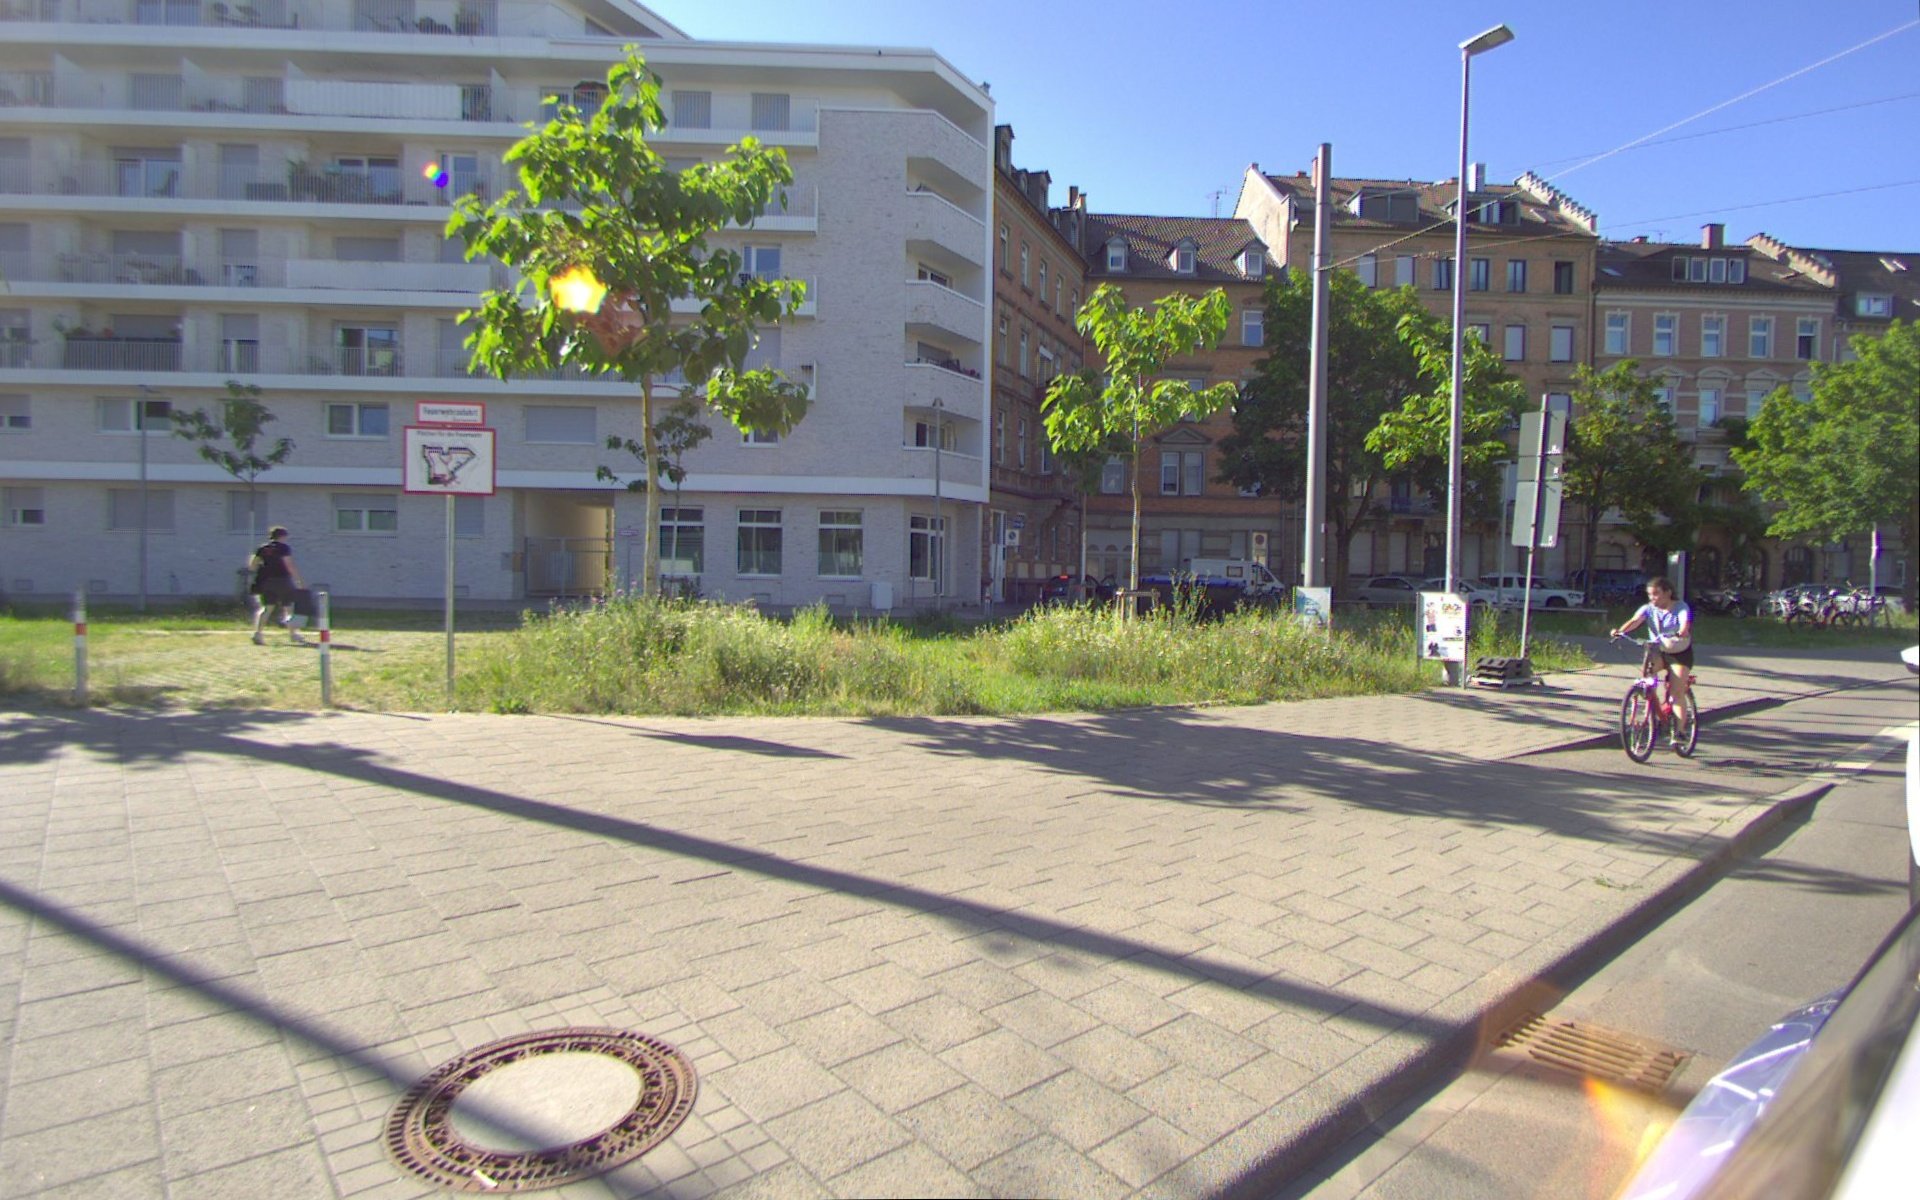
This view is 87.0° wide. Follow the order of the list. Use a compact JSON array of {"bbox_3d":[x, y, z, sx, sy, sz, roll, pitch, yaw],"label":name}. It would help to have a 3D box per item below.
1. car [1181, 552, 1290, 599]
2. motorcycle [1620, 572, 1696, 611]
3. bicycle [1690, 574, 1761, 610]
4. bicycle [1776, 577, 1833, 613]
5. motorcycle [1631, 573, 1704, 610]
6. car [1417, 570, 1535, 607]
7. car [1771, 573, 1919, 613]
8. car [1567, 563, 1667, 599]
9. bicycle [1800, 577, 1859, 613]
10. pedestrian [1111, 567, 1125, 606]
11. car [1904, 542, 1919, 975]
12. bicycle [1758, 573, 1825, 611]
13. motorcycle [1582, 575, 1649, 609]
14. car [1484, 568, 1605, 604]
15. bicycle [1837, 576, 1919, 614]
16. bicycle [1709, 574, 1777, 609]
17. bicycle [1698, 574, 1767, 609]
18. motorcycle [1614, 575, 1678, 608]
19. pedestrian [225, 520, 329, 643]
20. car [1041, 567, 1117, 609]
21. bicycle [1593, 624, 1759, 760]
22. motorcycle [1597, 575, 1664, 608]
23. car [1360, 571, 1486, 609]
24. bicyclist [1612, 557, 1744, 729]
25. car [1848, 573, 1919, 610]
[{"bbox_3d":[12.661,-1.153,46.780,4.416,2.062,2.054,1,2,0],"label":"car"},{"bbox_3d":[25.338,-0.305,36.775,0.650,1.347,2.207,0,0,-28],"label":"motorcycle"},{"bbox_3d":[28.369,-0.309,37.560,0.649,1.284,2.208,0,0,-11],"label":"bicycle"},{"bbox_3d":[30.940,-0.184,37.106,0.653,1.284,2.196,0,0,12],"label":"bicycle"},{"bbox_3d":[26.154,-0.320,37.464,0.649,1.339,2.208,0,0,-23],"label":"motorcycle"},{"bbox_3d":[19.672,-0.467,38.714,1.648,1.267,3.709,0,3,-28],"label":"car"},{"bbox_3d":[34.685,-0.320,39.588,1.651,1.423,4.324,-1,3,-38],"label":"car"},{"bbox_3d":[30.875,-0.920,47.645,3.631,1.607,1.552,1,2,0],"label":"car"},{"bbox_3d":[32.034,-0.192,37.329,0.653,1.284,2.196,0,0,12],"label":"bicycle"},{"bbox_3d":[5.924,-0.507,38.013,0.500,1.474,0.480,0,0,11],"label":"pedestrian"},{"bbox_3d":[5.866,0.608,4.713,4.323,1.667,1.840,0,0,-43],"label":"car"},{"bbox_3d":[29.273,-0.291,35.669,0.651,1.284,2.202,0,0,4],"label":"bicycle"},{"bbox_3d":[26.026,-0.327,40.221,0.649,1.293,2.324,0,0,-18],"label":"motorcycle"},{"bbox_3d":[22.328,-0.578,38.769,1.513,1.267,3.700,-1,3,-39],"label":"car"},{"bbox_3d":[31.629,-0.165,34.759,2.180,1.284,0.657,0,0,25],"label":"bicycle"},{"bbox_3d":[29.723,-0.325,38.459,0.649,1.284,2.208,0,0,-9],"label":"bicycle"},{"bbox_3d":[29.080,-0.319,38.148,0.649,1.284,2.208,0,0,-9],"label":"bicycle"},{"bbox_3d":[27.488,-0.334,40.607,0.649,1.284,2.209,0,0,-18],"label":"motorcycle"},{"bbox_3d":[-10.017,-0.284,14.885,0.829,1.717,0.985,2,2,2],"label":"pedestrian"},{"bbox_3d":[4.566,-0.504,38.295,1.811,1.444,4.359,1,2,21],"label":"car"},{"bbox_3d":[6.475,0.776,9.121,1.786,1.085,0.669,1,1,-36],"label":"bicycle"},{"bbox_3d":[26.697,-0.335,40.353,0.649,1.300,2.324,0,0,-18],"label":"motorcycle"},{"bbox_3d":[17.348,-0.421,38.104,1.648,1.267,4.170,0,3,-28],"label":"car"},{"bbox_3d":[6.463,0.352,9.106,0.922,1.454,0.669,0,2,-35],"label":"bicyclist"},{"bbox_3d":[37.822,-0.328,39.957,1.649,1.423,3.832,-1,3,-32],"label":"car"}]
